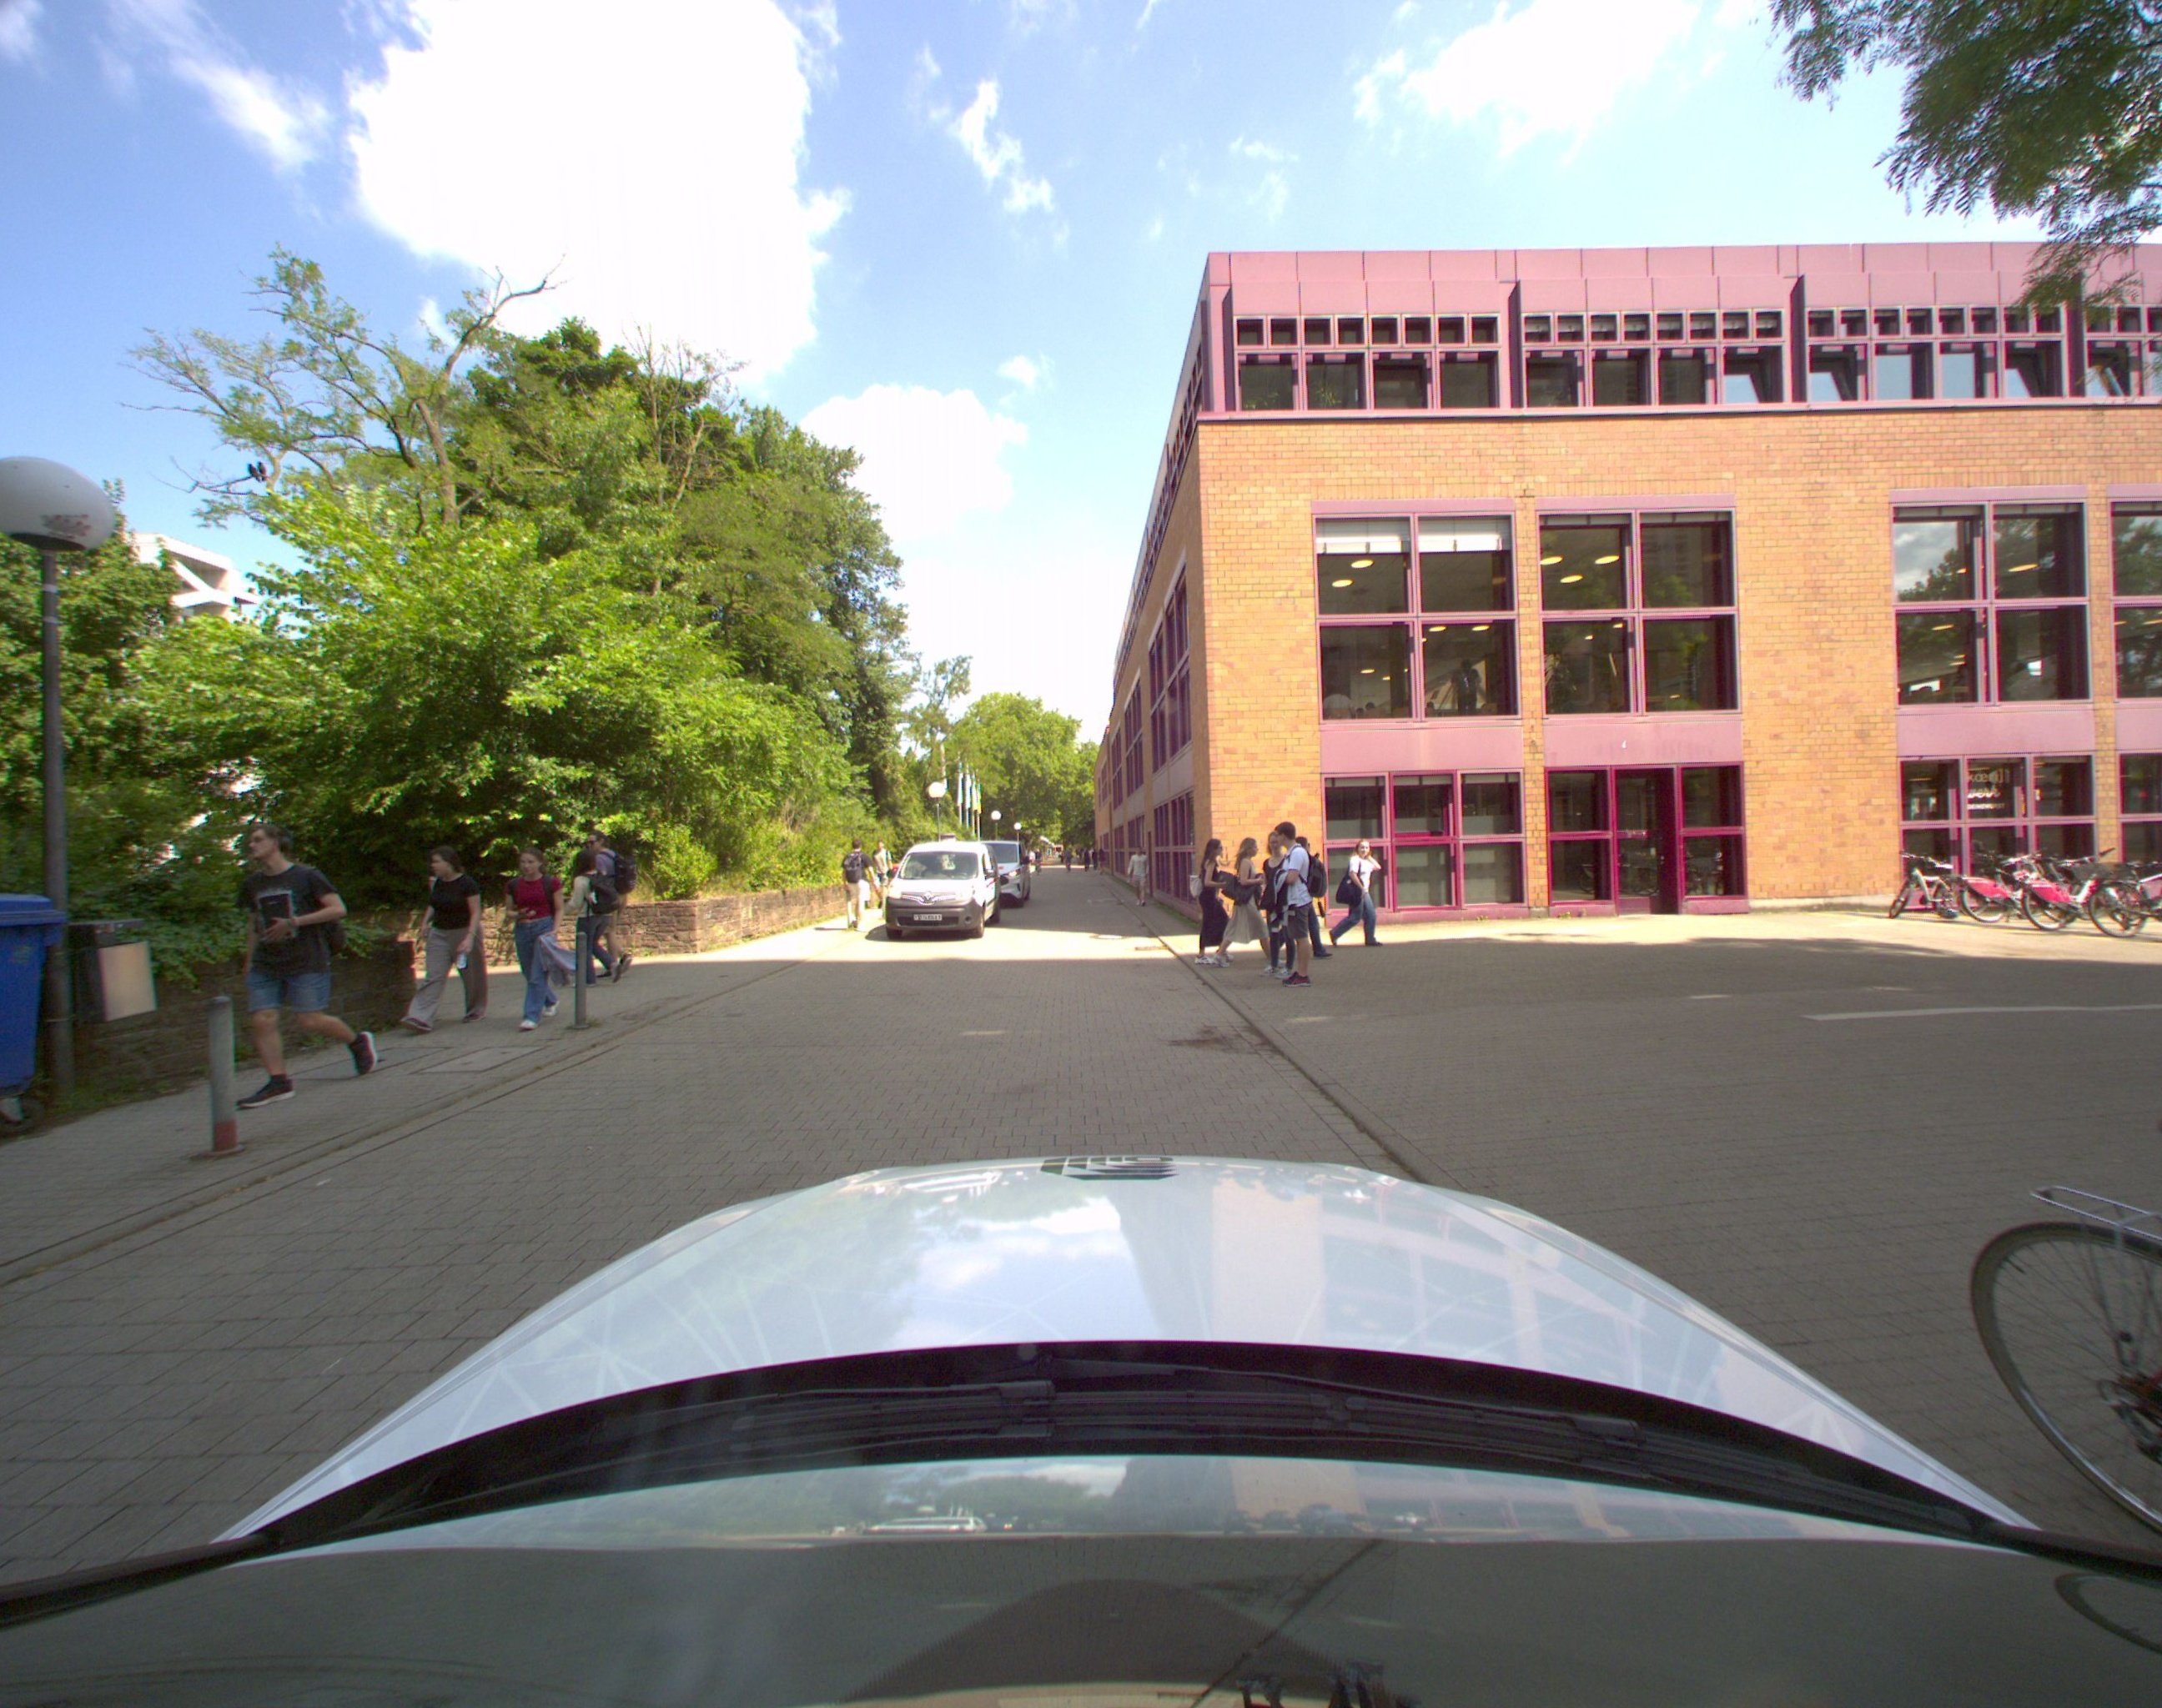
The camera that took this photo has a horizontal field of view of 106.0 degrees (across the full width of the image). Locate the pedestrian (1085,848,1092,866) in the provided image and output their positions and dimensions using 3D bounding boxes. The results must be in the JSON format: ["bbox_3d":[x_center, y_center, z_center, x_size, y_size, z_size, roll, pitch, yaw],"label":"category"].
[{"bbox_3d":[0.846,0.297,89.495,0.651,1.922,0.817,-3,-1,0],"label":"pedestrian"}]

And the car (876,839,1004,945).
[{"bbox_3d":[-2.655,0.648,16.340,1.785,1.761,4.479,-2,0,-1],"label":"car"}]

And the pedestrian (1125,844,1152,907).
[{"bbox_3d":[1.631,0.601,23.234,0.680,1.747,0.783,-1,-1,-1],"label":"pedestrian"}]

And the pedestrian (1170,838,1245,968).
[{"bbox_3d":[1.716,0.645,11.131,0.881,1.672,0.644,-3,1,6],"label":"pedestrian"}]

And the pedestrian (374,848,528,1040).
[{"bbox_3d":[-5.720,0.775,7.456,0.681,1.620,0.977,-1,-1,-6],"label":"pedestrian"}]

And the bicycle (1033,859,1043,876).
[{"bbox_3d":[-2.877,0.901,54.750,0.586,1.083,1.811,-2,0,-4],"label":"bicycle"}]

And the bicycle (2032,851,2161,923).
[{"bbox_3d":[16.412,0.518,13.132,1.804,1.110,0.473,-1,0,-7],"label":"bicycle"}]

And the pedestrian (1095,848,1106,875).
[{"bbox_3d":[1.263,0.480,52.122,0.584,1.672,0.699,-3,-1,0],"label":"pedestrian"}]

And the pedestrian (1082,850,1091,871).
[{"bbox_3d":[0.443,0.513,65.736,0.584,1.672,0.817,-3,-1,0],"label":"pedestrian"}]

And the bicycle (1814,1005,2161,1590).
[{"bbox_3d":[2.253,0.906,1.330,0.449,0.962,1.739,-4,0,-1],"label":"bicycle"}]

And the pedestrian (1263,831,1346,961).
[{"bbox_3d":[2.991,0.557,10.971,0.924,1.672,0.589,-3,-1,6],"label":"pedestrian"}]

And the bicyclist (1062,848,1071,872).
[{"bbox_3d":[-1.080,0.426,60.397,0.586,1.716,0.664,-2,0,-5],"label":"bicyclist"}]

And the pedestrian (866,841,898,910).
[{"bbox_3d":[-5.494,0.588,22.530,0.680,1.844,0.783,-1,-1,-1],"label":"pedestrian"}]

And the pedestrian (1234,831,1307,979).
[{"bbox_3d":[2.242,0.594,9.700,0.693,1.672,0.589,-3,-1,6],"label":"pedestrian"}]

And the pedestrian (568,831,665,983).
[{"bbox_3d":[-5.848,0.650,10.292,0.824,1.844,0.684,-1,-1,-4],"label":"pedestrian"}]

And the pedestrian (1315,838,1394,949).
[{"bbox_3d":[3.998,0.559,11.956,0.881,1.542,0.744,-4,0,6],"label":"pedestrian"}]

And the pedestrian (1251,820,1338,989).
[{"bbox_3d":[2.365,0.553,9.092,0.763,1.794,0.589,-3,-1,6],"label":"pedestrian"}]

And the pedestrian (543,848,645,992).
[{"bbox_3d":[-5.735,0.757,9.627,0.779,1.620,0.684,-1,-1,-4],"label":"pedestrian"}]

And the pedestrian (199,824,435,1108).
[{"bbox_3d":[-5.133,0.692,5.553,0.681,1.728,1.018,-1,-1,-6],"label":"pedestrian"}]

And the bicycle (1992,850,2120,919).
[{"bbox_3d":[16.391,0.504,13.700,1.804,1.110,0.473,-1,0,-7],"label":"bicycle"}]

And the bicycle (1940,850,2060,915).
[{"bbox_3d":[16.281,0.494,14.433,1.804,1.110,0.473,-1,0,-7],"label":"bicycle"}]

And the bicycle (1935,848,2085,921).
[{"bbox_3d":[14.516,0.466,12.745,1.804,1.110,0.523,-1,0,-2],"label":"bicycle"}]

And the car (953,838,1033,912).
[{"bbox_3d":[-2.571,0.566,24.947,1.878,1.974,5.212,-2,0,-1],"label":"car"}]

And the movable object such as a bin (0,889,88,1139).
[{"bbox_3d":[-6.289,0.884,4.219,0.705,1.336,1.242,1,0,9],"label":"movable object such as a bin"}]

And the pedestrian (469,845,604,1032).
[{"bbox_3d":[-5.034,0.740,7.591,0.681,1.620,0.912,-1,-1,-6],"label":"pedestrian"}]

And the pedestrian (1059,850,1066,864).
[{"bbox_3d":[-2.358,0.410,104.953,0.722,1.672,0.748,-3,-1,0],"label":"pedestrian"}]

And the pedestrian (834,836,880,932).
[{"bbox_3d":[-4.468,0.589,16.282,0.680,1.844,0.783,-1,-1,-1],"label":"pedestrian"}]

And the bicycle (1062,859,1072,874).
[{"bbox_3d":[-1.064,0.915,60.381,0.586,1.083,1.905,-2,0,-4],"label":"bicycle"}]

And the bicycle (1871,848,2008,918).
[{"bbox_3d":[14.309,0.472,13.590,1.805,1.110,0.523,-1,0,-3],"label":"bicycle"}]

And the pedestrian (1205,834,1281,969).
[{"bbox_3d":[2.072,0.595,10.472,0.881,1.672,0.560,-1,-1,6],"label":"pedestrian"}]

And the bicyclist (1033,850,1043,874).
[{"bbox_3d":[-2.877,0.531,54.683,0.586,1.573,0.828,-2,0,-4],"label":"bicyclist"}]

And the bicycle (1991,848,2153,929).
[{"bbox_3d":[14.189,0.486,11.678,1.806,1.110,0.523,-1,0,-4],"label":"bicycle"}]

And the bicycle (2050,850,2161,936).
[{"bbox_3d":[14.137,0.500,10.832,1.802,1.110,0.524,-1,0,2],"label":"bicycle"}]
